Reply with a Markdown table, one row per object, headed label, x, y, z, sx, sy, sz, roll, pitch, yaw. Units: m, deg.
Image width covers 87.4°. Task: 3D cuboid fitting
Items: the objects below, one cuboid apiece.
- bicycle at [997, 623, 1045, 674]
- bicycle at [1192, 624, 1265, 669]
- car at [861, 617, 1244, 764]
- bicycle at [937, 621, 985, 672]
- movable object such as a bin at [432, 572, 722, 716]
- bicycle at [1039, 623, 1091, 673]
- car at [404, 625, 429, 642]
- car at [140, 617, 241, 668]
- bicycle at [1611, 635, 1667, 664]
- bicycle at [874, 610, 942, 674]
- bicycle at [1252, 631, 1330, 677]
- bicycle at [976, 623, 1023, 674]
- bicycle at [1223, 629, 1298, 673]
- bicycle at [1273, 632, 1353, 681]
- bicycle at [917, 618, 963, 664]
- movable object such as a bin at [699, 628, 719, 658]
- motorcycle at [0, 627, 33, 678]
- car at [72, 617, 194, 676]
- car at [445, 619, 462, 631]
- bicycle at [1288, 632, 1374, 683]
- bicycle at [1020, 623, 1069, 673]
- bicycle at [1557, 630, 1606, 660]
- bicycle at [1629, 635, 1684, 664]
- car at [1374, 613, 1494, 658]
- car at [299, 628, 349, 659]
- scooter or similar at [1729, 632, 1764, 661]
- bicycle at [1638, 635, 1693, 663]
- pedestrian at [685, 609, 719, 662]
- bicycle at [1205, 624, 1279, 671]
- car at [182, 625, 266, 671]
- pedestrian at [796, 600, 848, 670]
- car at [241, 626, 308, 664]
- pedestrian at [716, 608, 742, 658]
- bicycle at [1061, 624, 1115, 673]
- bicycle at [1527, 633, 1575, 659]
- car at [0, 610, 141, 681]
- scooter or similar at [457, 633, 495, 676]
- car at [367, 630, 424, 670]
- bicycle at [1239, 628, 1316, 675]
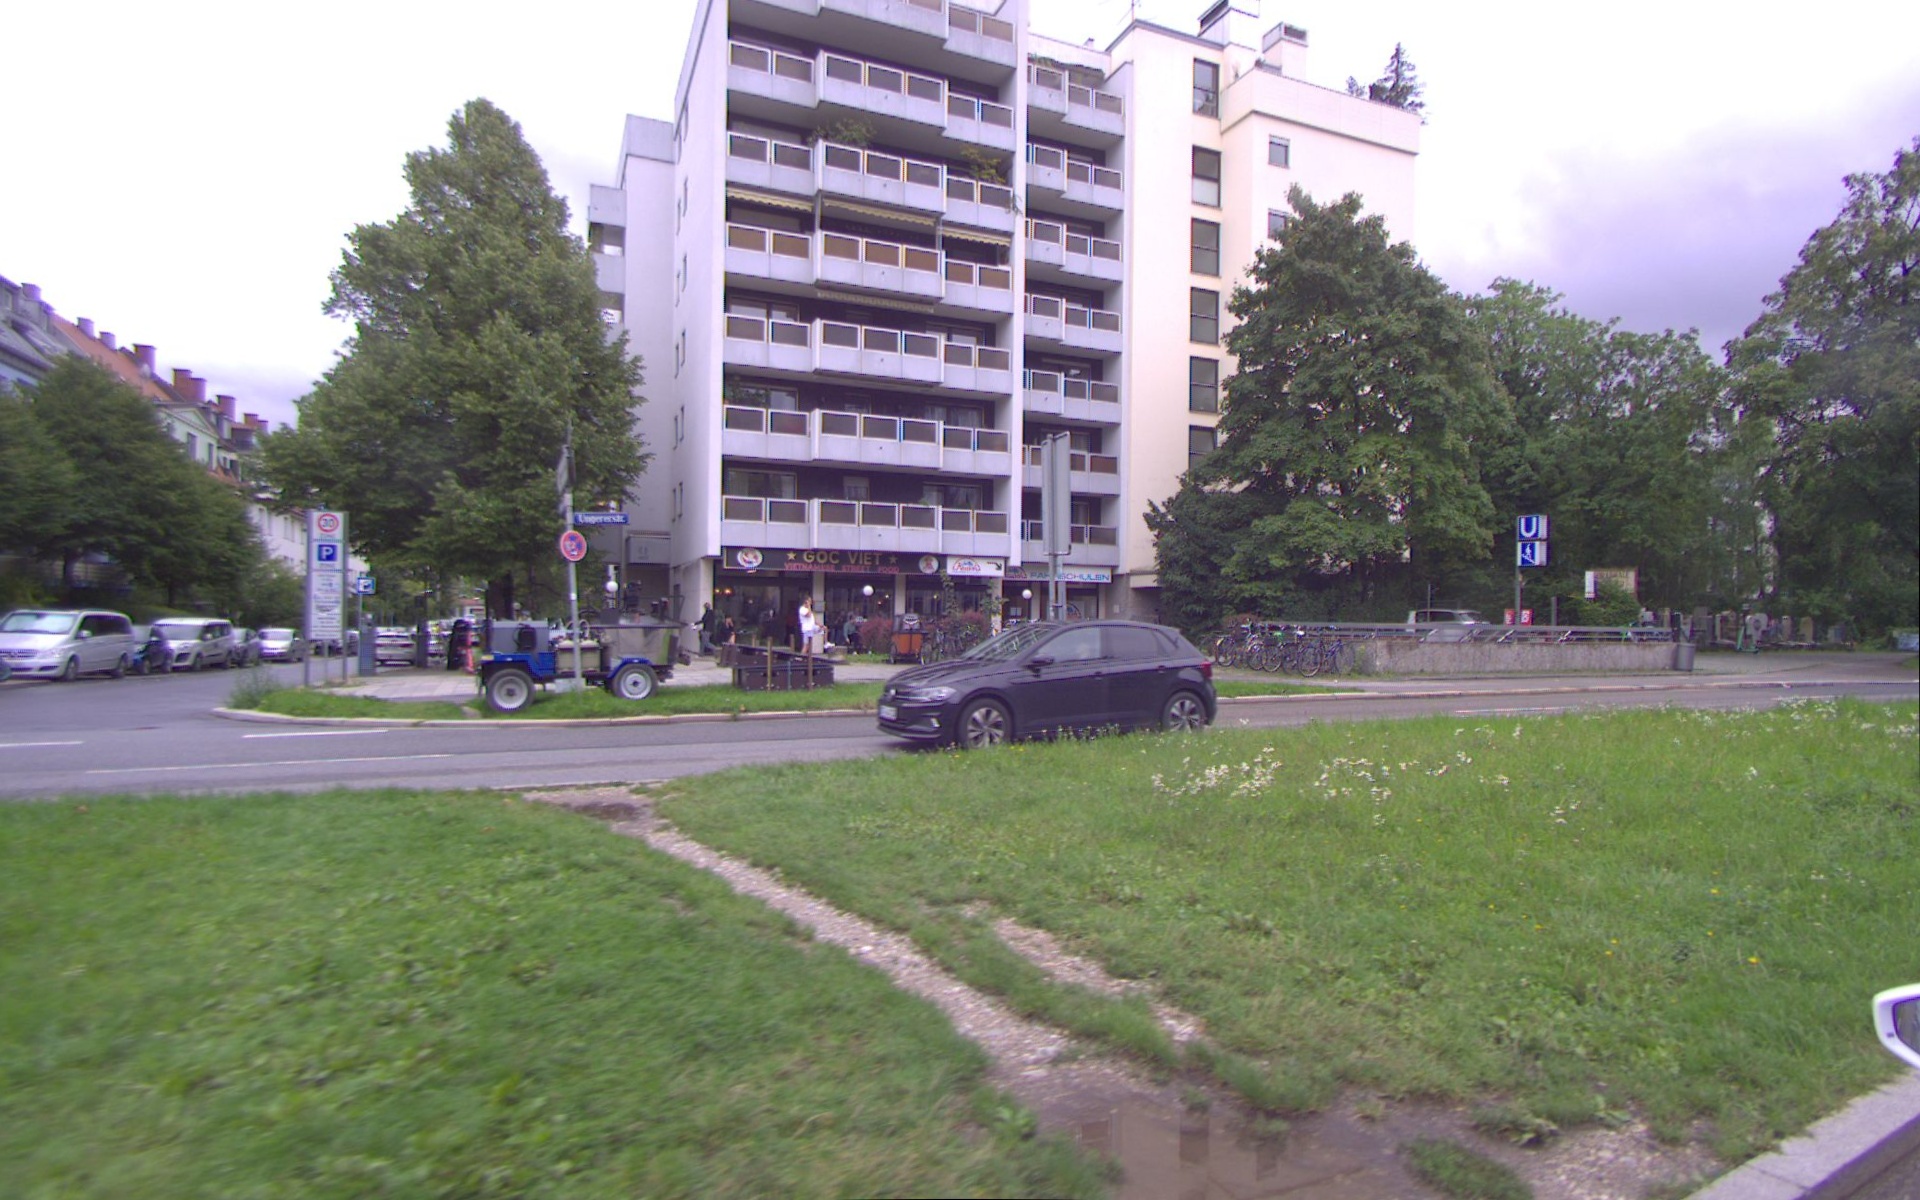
| label | x | y | z | sx | sy | sz | roll | pitch | yaw |
| --- | --- | --- | --- | --- | --- | --- | --- | --- | --- |
| bicycle | 1.591 | 1.250 | 26.428 | 0.482 | 1.118 | 1.944 | 1 | 3 | -20 |
| bicycle | 6.974 | 1.209 | 26.071 | 1.926 | 1.112 | 0.407 | 1 | 3 | -23 |
| car | 1.083 | 0.944 | 11.469 | 4.048 | 1.424 | 1.776 | 1 | -2 | -27 |
| bicycle | 0.014 | 1.171 | 25.870 | 0.551 | 1.118 | 1.944 | 1 | 3 | -20 |
| movable object such as a bin | -6.011 | 0.664 | 15.802 | 3.953 | 1.979 | 2.182 | 1 | -1 | -31 |
| bicycle | 2.807 | 1.272 | 26.989 | 0.551 | 1.118 | 1.944 | 1 | 3 | -20 |
| car | -54.772 | 3.331 | 101.234 | 1.911 | 1.614 | 3.975 | 1 | -1 | -25 |
| car | -27.503 | 1.495 | 36.058 | 1.973 | 1.704 | 4.235 | 1 | -1 | -25 |
| bicycle | 25.217 | 1.826 | 37.328 | 0.430 | 1.020 | 1.757 | 1 | -1 | -24 |
| bicycle | -1.396 | 1.041 | 25.908 | 0.776 | 1.300 | 3.321 | 1 | 3 | -20 |
| bicycle | 7.943 | 1.282 | 24.061 | 1.926 | 1.054 | 0.407 | 1 | 3 | -23 |
| bicycle | 1.007 | 1.244 | 26.232 | 0.482 | 1.118 | 1.944 | 1 | 3 | -20 |
| bicycle | 7.526 | 1.272 | 25.120 | 1.926 | 1.044 | 0.407 | 1 | 3 | -23 |
| bicycle | 8.249 | 1.318 | 23.468 | 1.926 | 1.092 | 0.407 | 1 | 3 | -23 |
| bicycle | -0.525 | 1.028 | 25.665 | 0.551 | 1.118 | 1.945 | 1 | -1 | -20 |
| movable object such as a bin | -8.114 | 1.390 | 32.465 | 0.531 | 0.978 | 0.371 | 1 | -1 | -32 |
| motorcycle | -22.189 | 1.159 | 22.171 | 0.490 | 1.148 | 2.469 | 0 | -2 | 36 |
| car | -26.127 | 1.424 | 31.898 | 1.973 | 1.704 | 4.235 | 1 | -1 | -25 |
| car | -66.510 | 3.289 | 131.905 | 1.911 | 1.614 | 3.975 | 1 | -1 | -25 |
| bicycle | 8.500 | 1.304 | 23.003 | 2.054 | 1.104 | 0.407 | 1 | 3 | -22 |
| bicycle | 2.221 | 1.254 | 26.682 | 0.482 | 1.118 | 1.944 | 1 | 3 | -20 |
| bicycle | 23.924 | 1.740 | 38.644 | 2.004 | 1.114 | 0.577 | 1 | -1 | -24 |
| bicycle | 26.451 | 1.866 | 38.189 | 0.430 | 1.020 | 1.757 | 1 | -1 | -24 |
| car | 17.727 | 1.295 | 37.785 | 1.724 | 1.610 | 3.979 | 1 | -1 | -22 |
| car | -36.429 | 2.468 | 57.591 | 1.911 | 1.614 | 3.975 | 1 | -1 | -25 |
| scooter or similar | 31.818 | 1.891 | 40.637 | 1.267 | 1.142 | 0.435 | 1 | -1 | -12 |
| bicycle | 26.978 | 1.862 | 38.442 | 0.430 | 1.020 | 1.757 | 1 | -1 | -24 |
| pedestrian | -8.108 | 1.116 | 31.597 | 0.736 | 1.620 | 0.702 | 0 | -1 | 29 |
| bicycle | 7.186 | 1.207 | 25.598 | 1.926 | 1.119 | 0.407 | 1 | 3 | -23 |
| car | -29.572 | 1.906 | 40.489 | 1.973 | 1.704 | 3.975 | 1 | -1 | -25 |
| pedestrian | -3.507 | 0.882 | 25.530 | 1.118 | 1.731 | 0.665 | 1 | -1 | -30 |
| car | -32.301 | 2.092 | 47.419 | 1.973 | 1.704 | 3.975 | 1 | -1 | -25 |
| pedestrian | -7.481 | 1.056 | 32.556 | 0.659 | 1.606 | 0.655 | 1 | -1 | -26 |
| bicycle | 3.441 | 1.294 | 27.160 | 0.551 | 1.118 | 1.944 | 1 | 3 | -20 |
| bicycle | 23.329 | 1.817 | 39.617 | 2.004 | 1.020 | 0.577 | 1 | -1 | -24 |
| car | -23.592 | 1.133 | 26.405 | 1.973 | 1.704 | 5.086 | 1 | -1 | -25 |
| scooter or similar | -11.440 | 1.279 | 23.724 | 1.135 | 0.971 | 0.441 | 0 | -1 | 44 |
| car | -24.823 | 2.176 | 44.281 | 1.850 | 1.646 | 3.975 | 1 | -1 | -25 |
| bicycle | 7.772 | 1.249 | 24.587 | 1.926 | 1.087 | 0.407 | 1 | 3 | -23 |
